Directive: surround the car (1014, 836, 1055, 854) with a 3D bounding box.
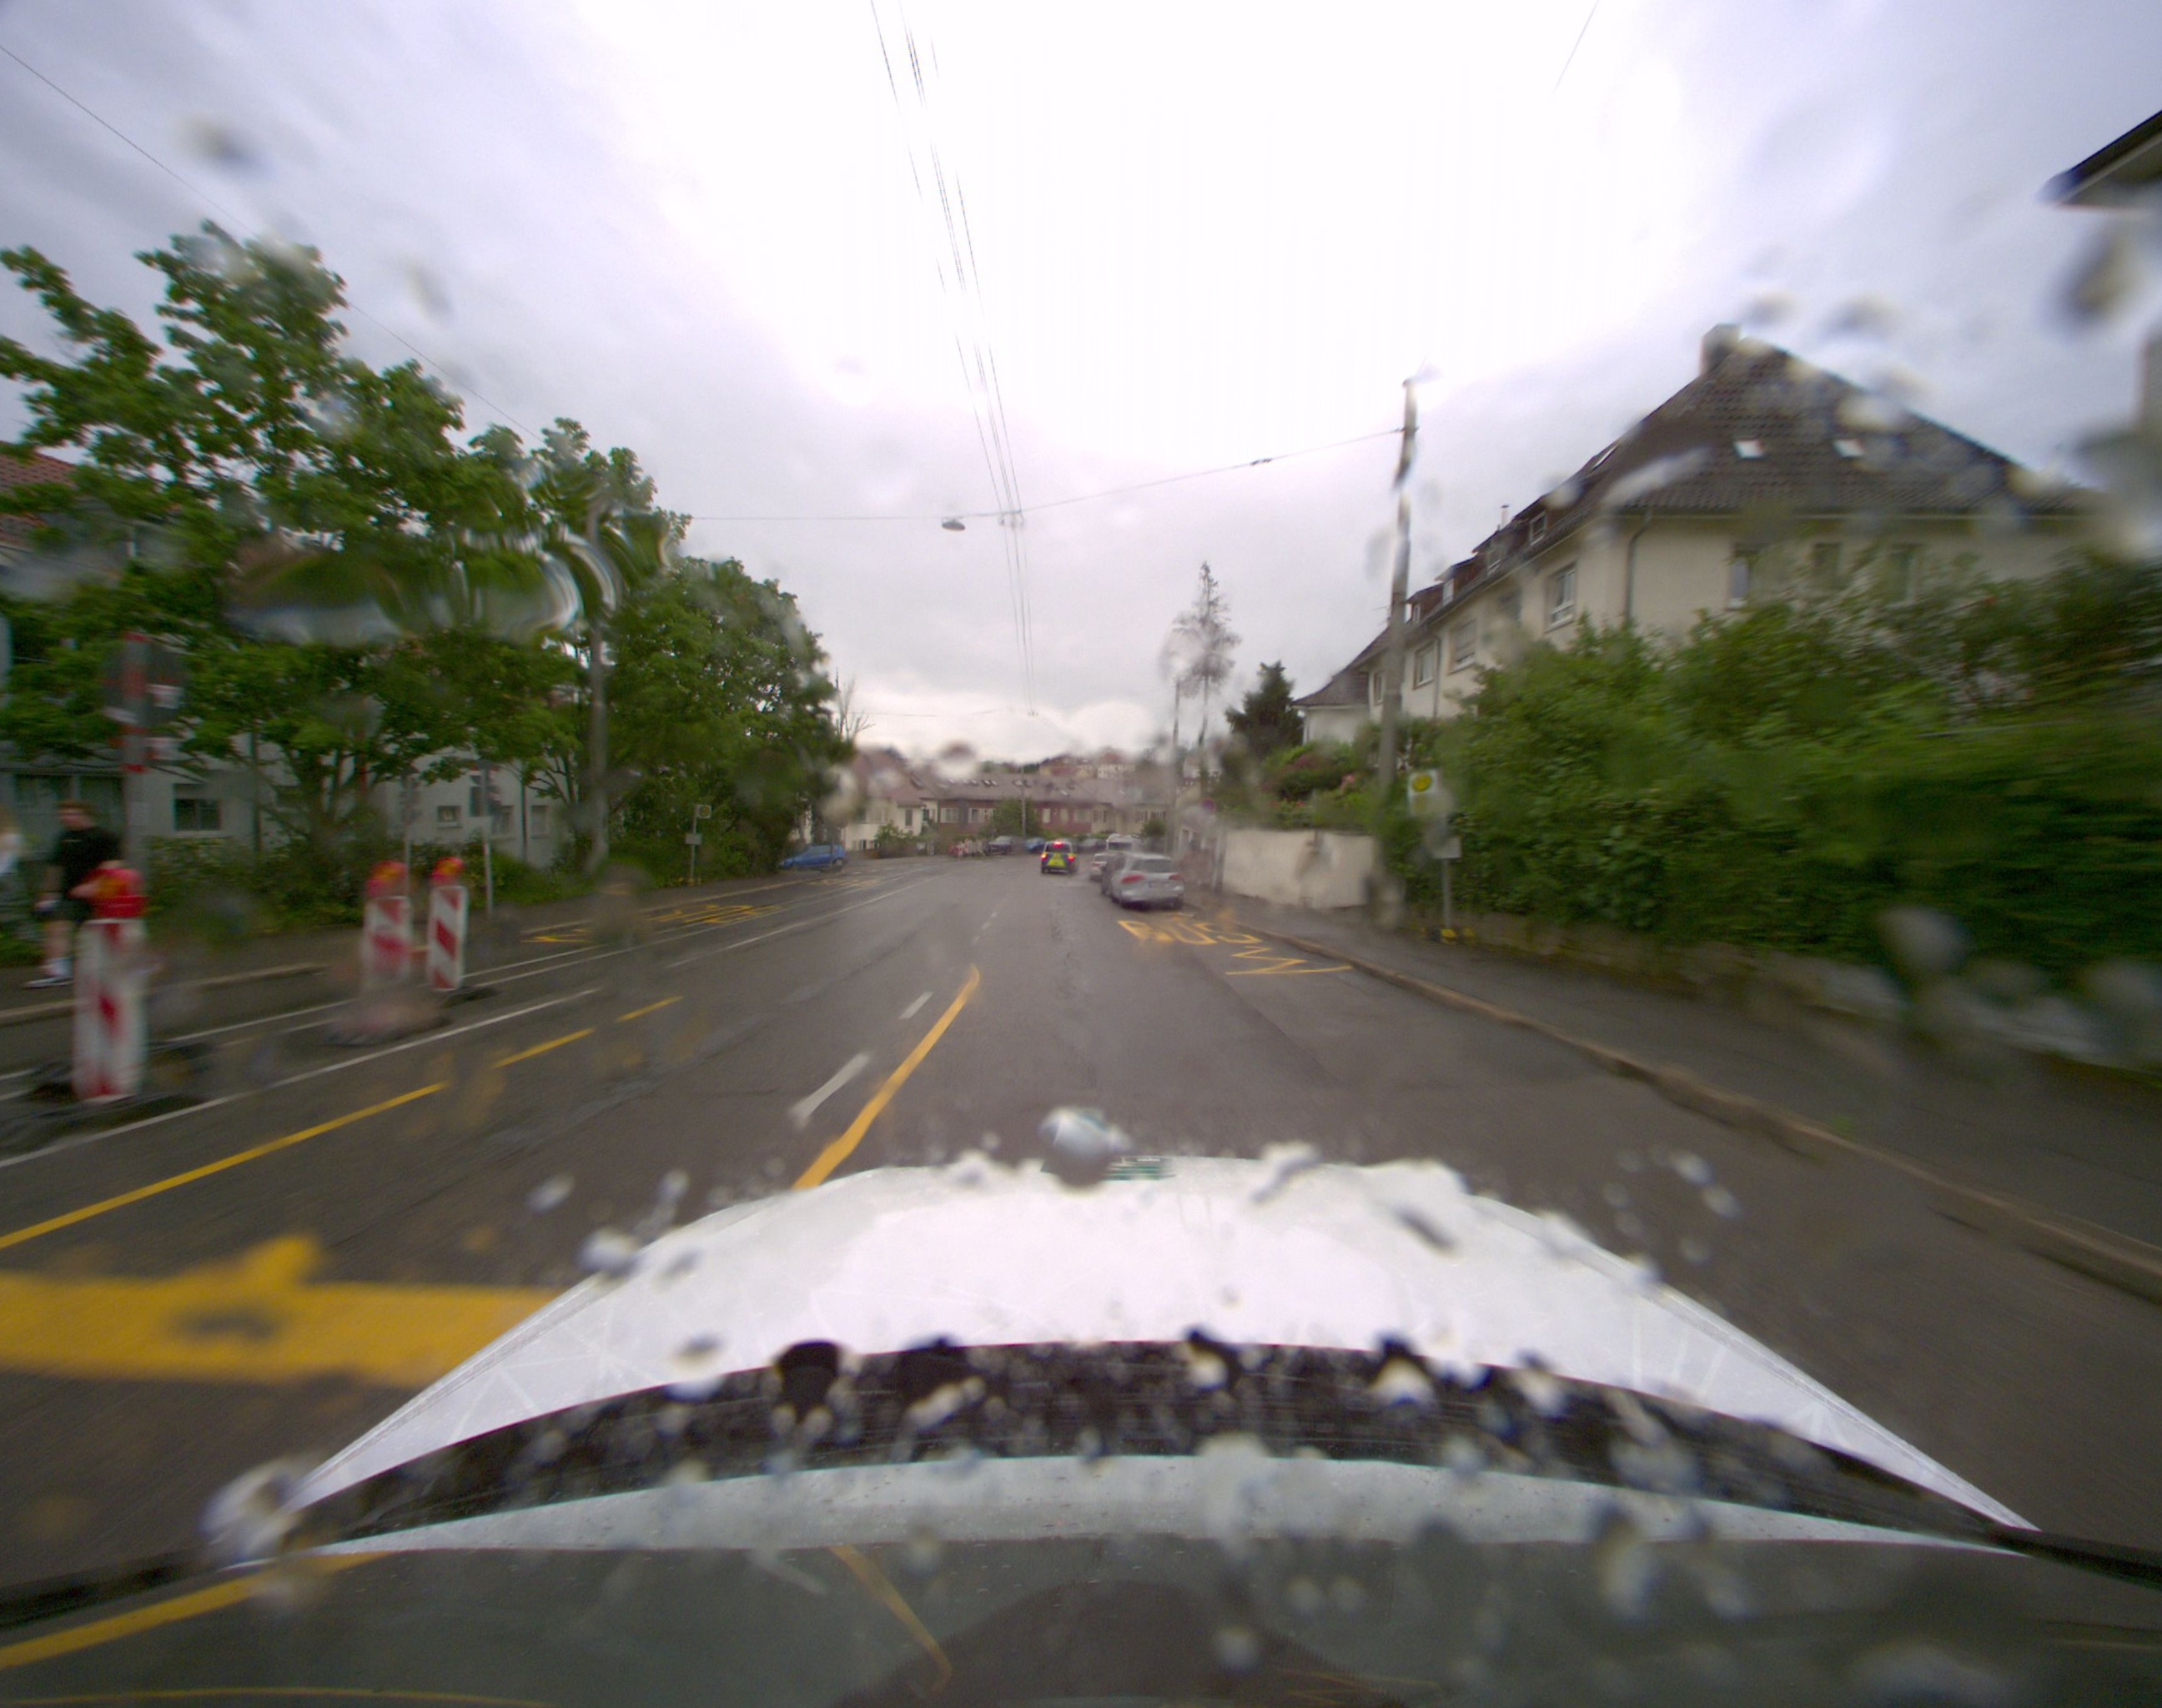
[{"bbox_3d":[-4.212,-0.848,74.640,1.684,1.404,4.499,6,4,25],"label":"car"}]

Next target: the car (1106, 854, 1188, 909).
[{"bbox_3d":[1.799,0.714,23.528,1.777,1.420,4.425,0,0,-3],"label":"car"}]

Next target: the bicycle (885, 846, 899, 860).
[{"bbox_3d":[-14.512,-0.060,62.469,1.287,1.035,0.307,-2,-4,36],"label":"bicycle"}]

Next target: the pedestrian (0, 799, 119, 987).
[{"bbox_3d":[-10.799,0.356,8.267,0.679,1.816,1.154,2,1,-4],"label":"pedestrian"}]

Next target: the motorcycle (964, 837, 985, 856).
[{"bbox_3d":[-8.414,-0.587,64.429,0.617,1.303,1.786,2,4,-43],"label":"motorcycle"}]

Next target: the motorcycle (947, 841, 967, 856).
[{"bbox_3d":[-9.396,-0.424,61.797,0.505,1.139,1.933,1,2,26],"label":"motorcycle"}]

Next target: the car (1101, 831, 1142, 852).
[{"bbox_3d":[4.467,-1.309,89.234,1.831,2.078,5.052,6,3,37],"label":"car"}]

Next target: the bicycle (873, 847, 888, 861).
[{"bbox_3d":[-15.600,-0.024,63.342,1.311,1.035,0.307,-2,-4,37],"label":"bicycle"}]

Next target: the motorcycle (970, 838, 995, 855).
[{"bbox_3d":[-7.944,-0.613,65.842,1.902,1.270,0.573,3,3,-13],"label":"motorcycle"}]

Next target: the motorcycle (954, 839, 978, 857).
[{"bbox_3d":[-8.951,-0.505,63.445,1.787,1.279,0.513,4,2,18],"label":"motorcycle"}]

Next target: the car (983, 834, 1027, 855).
[{"bbox_3d":[-6.438,-0.856,69.801,1.906,1.576,4.410,5,3,20],"label":"car"}]

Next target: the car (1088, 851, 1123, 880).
[{"bbox_3d":[1.238,0.577,42.507,1.699,1.414,4.041,1,0,0],"label":"car"}]

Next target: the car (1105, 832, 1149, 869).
[{"bbox_3d":[3.464,-0.279,60.018,2.084,2.542,5.641,2,1,14],"label":"car"}]

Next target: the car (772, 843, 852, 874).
[{"bbox_3d":[-15.475,0.247,46.864,3.961,1.666,1.821,2,-1,-39],"label":"car"}]

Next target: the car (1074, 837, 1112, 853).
[{"bbox_3d":[1.273,-0.956,84.306,1.791,1.476,4.551,5,3,31],"label":"car"}]

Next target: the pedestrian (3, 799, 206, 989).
[{"bbox_3d":[-10.034,0.379,8.428,0.706,1.816,1.146,2,1,-4],"label":"pedestrian"}]

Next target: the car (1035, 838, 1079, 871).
[{"bbox_3d":[-1.427,0.033,50.357,2.298,1.939,4.330,0,0,4],"label":"car"}]

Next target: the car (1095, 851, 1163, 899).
[{"bbox_3d":[1.608,0.679,28.489,1.712,1.513,3.991,1,0,-6],"label":"car"}]

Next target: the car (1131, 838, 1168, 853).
[{"bbox_3d":[7.954,-0.969,93.877,1.792,1.476,4.550,6,3,41],"label":"car"}]

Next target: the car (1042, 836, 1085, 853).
[{"bbox_3d":[-1.654,-0.909,79.485,1.791,1.476,4.551,6,3,34],"label":"car"}]
